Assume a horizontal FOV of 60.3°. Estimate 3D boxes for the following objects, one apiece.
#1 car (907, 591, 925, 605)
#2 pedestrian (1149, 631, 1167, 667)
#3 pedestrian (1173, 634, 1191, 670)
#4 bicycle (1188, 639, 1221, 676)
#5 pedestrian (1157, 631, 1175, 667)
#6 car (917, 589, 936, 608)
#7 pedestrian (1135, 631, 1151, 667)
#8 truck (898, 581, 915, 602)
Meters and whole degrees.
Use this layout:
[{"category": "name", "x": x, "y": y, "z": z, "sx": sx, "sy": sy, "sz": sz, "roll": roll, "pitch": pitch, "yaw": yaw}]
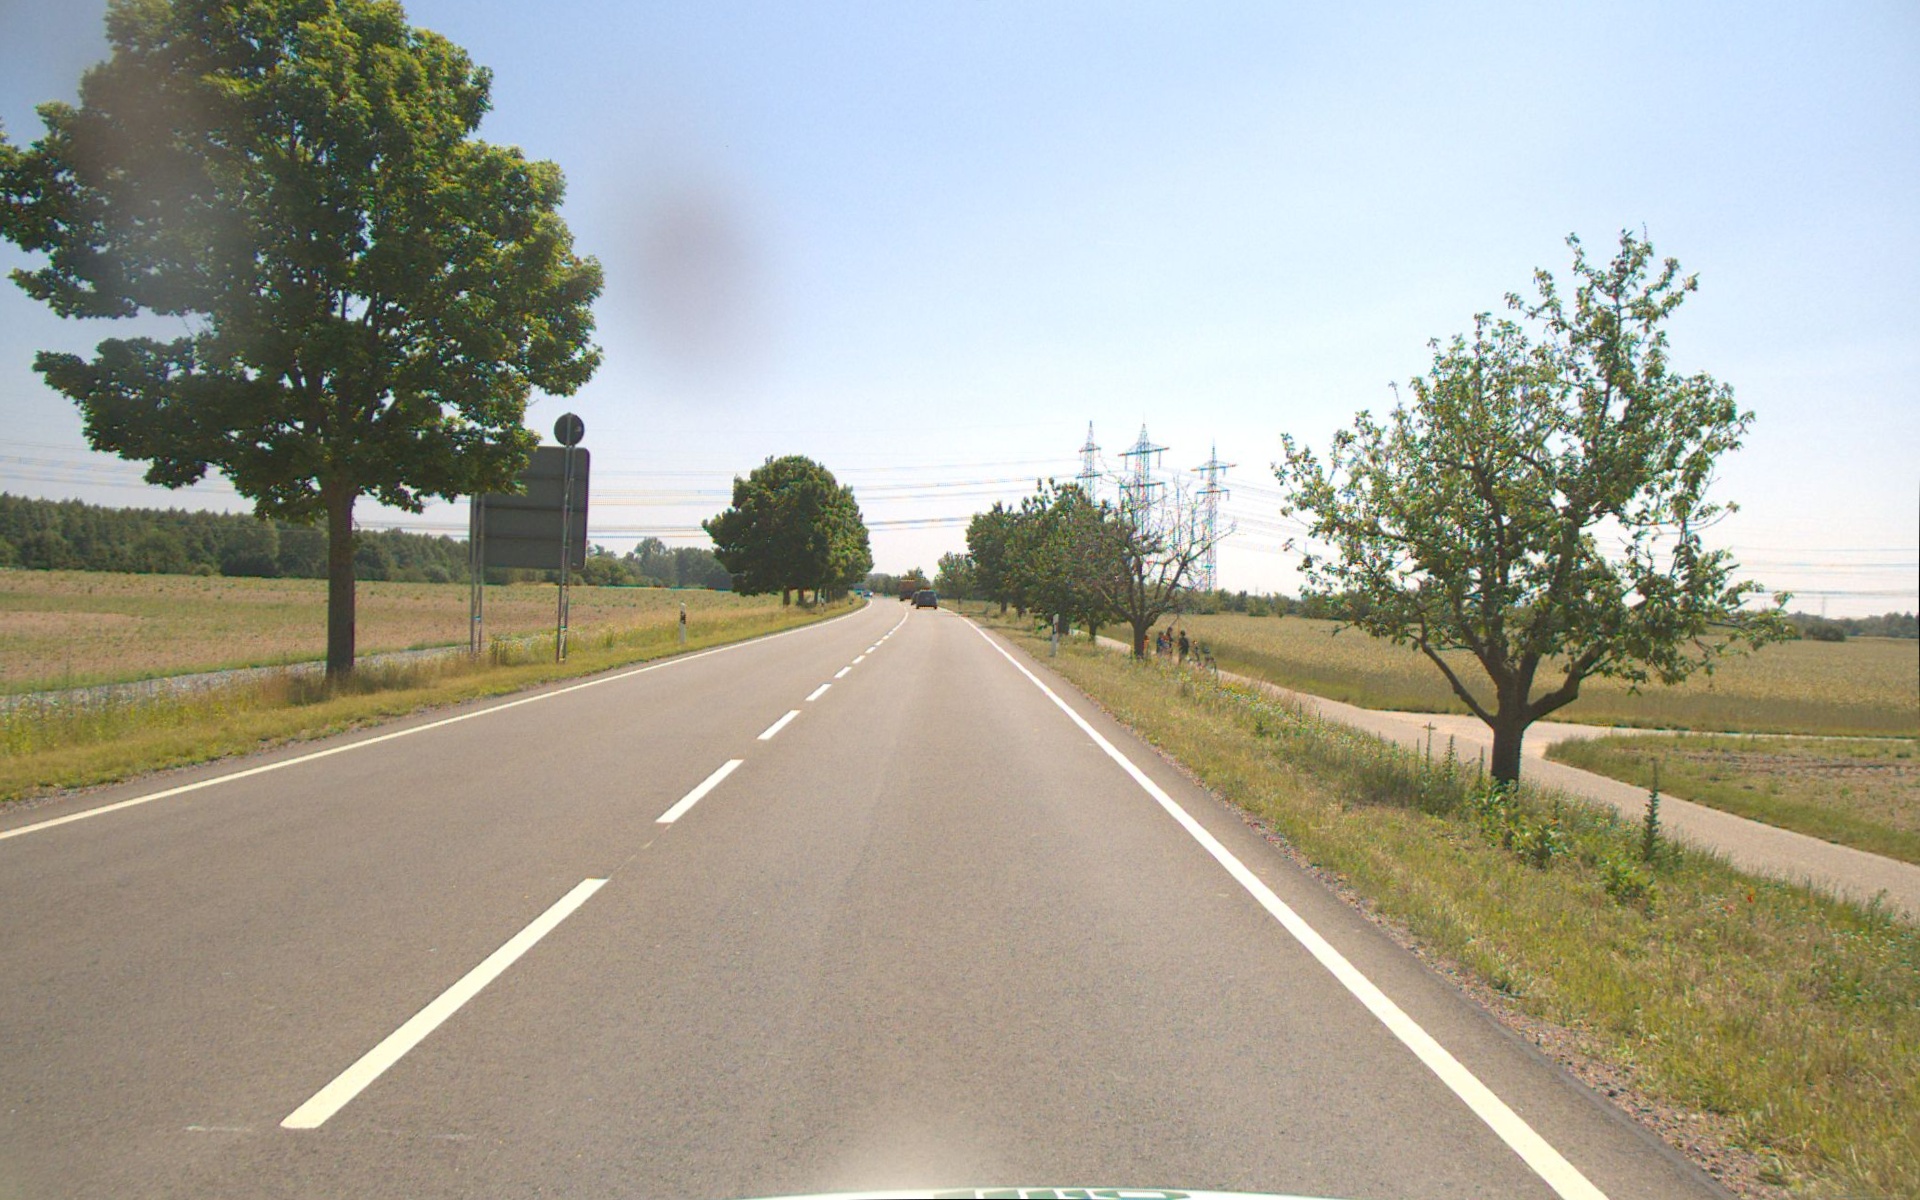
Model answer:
[{"category": "car", "x": -5.045, "y": -0.196, "z": 188.599, "sx": 1.815, "sy": 1.549, "sz": 3.996, "roll": 1, "pitch": 0, "yaw": -5}, {"category": "pedestrian", "x": 7.398, "y": 1.832, "z": 61.744, "sx": 0.477, "sy": 1.318, "sz": 0.441, "roll": 2, "pitch": 0, "yaw": 32}, {"category": "pedestrian", "x": 8.224, "y": 1.913, "z": 61.186, "sx": 0.479, "sy": 1.318, "sz": 0.439, "roll": 2, "pitch": 0, "yaw": 44}, {"category": "bicycle", "x": 8.564, "y": 2.011, "z": 58.037, "sx": 0.467, "sy": 1.186, "sz": 1.675, "roll": 2, "pitch": 0, "yaw": -16}, {"category": "pedestrian", "x": 7.743, "y": 1.829, "z": 62.176, "sx": 0.478, "sy": 1.337, "sz": 0.439, "roll": 2, "pitch": 0, "yaw": 41}, {"category": "car", "x": -3.015, "y": -0.122, "z": 148.723, "sx": 1.680, "sy": 1.723, "sz": 3.987, "roll": 1, "pitch": 0, "yaw": -2}, {"category": "pedestrian", "x": 6.753, "y": 1.802, "z": 61.084, "sx": 0.432, "sy": 1.318, "sz": 0.486, "roll": 2, "pitch": 0, "yaw": -8}, {"category": "truck", "x": -8.312, "y": -1.344, "z": 255.712, "sx": 2.324, "sy": 3.194, "sz": 8.741, "roll": 2, "pitch": 0, "yaw": -4}]
